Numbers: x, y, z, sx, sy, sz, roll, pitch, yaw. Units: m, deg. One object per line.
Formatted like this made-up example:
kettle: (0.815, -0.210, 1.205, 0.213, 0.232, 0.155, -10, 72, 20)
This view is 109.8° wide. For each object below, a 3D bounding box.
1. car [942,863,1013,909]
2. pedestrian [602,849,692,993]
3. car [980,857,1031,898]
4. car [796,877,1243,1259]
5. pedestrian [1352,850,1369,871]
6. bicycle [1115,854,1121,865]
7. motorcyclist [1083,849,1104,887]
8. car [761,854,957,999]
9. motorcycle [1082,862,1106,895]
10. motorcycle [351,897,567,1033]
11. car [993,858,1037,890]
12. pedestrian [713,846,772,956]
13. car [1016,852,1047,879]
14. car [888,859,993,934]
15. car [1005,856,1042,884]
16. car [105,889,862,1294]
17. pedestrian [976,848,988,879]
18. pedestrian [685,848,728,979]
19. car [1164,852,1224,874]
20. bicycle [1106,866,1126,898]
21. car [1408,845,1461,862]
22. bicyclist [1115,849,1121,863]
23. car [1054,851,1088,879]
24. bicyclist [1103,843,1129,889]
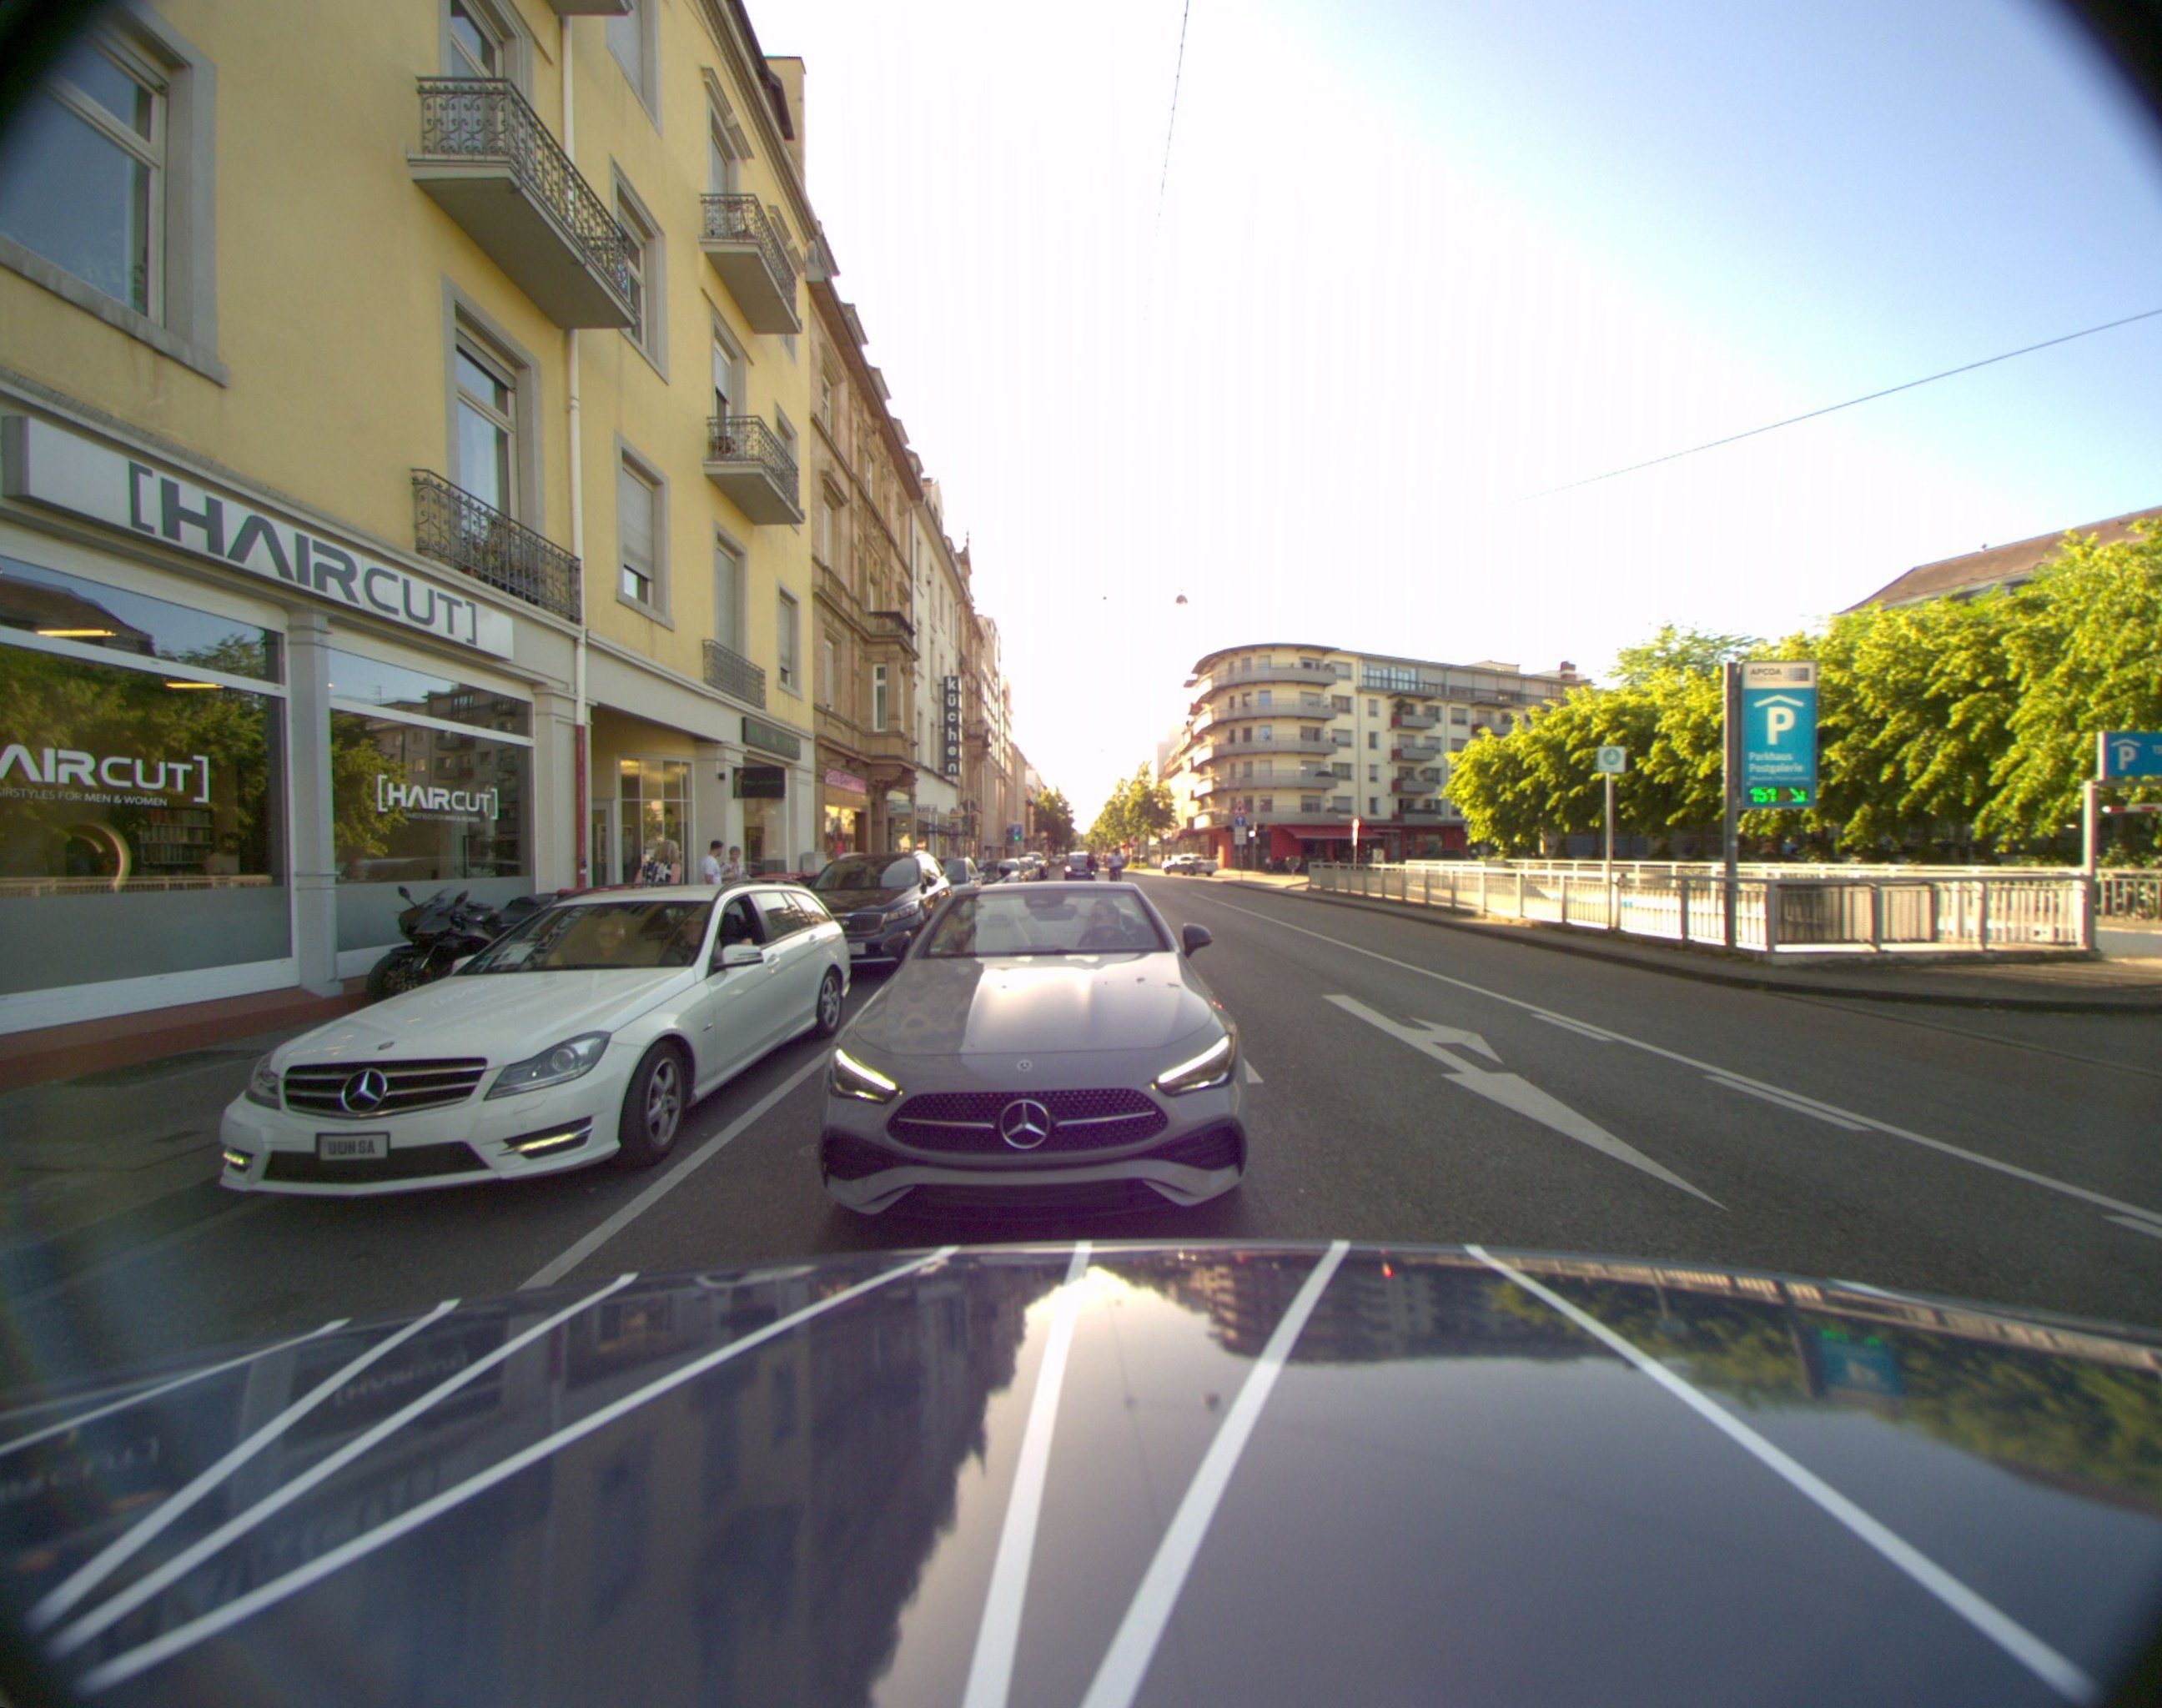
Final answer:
car: (-3.365, 1.014, 25.422, 1.802, 1.259, 4.085, -2, 1, -1)
pedestrian: (-5.140, 0.766, 9.031, 0.719, 1.644, 0.606, 1, 1, 1)
car: (-2.988, 0.897, 30.665, 1.660, 1.423, 4.085, -2, 1, -1)
car: (-0.272, 0.951, 5.156, 1.802, 1.351, 3.999, -2, 1, -1)
pedestrian: (21.827, 0.498, 59.240, 0.863, 1.586, 0.887, -3, 1, -38)
bicycle: (4.072, 0.561, 83.350, 0.527, 1.163, 1.593, -2, 1, 1)
motorcyclist: (0.498, 0.545, 30.205, 0.723, 1.438, 0.705, -2, 1, -5)
car: (-3.014, 0.875, 11.301, 1.803, 1.629, 4.243, -2, 1, -3)
motorcycle: (0.517, 0.952, 30.171, 0.721, 1.177, 1.905, -2, 1, -5)
motorcycle: (-6.214, 1.046, 7.758, 0.567, 1.072, 1.954, 2, 1, 1)
car: (-3.129, 0.924, 36.898, 1.802, 1.332, 3.838, -2, 1, -1)
pedestrian: (-5.834, 0.794, 13.126, 0.664, 1.840, 0.575, -2, 1, 2)
car: (-3.055, 0.691, 47.541, 1.725, 1.506, 4.004, -2, 1, -1)
car: (-3.298, 0.939, 18.598, 1.802, 1.518, 4.085, -2, 1, -1)
car: (-3.067, 0.836, 41.366, 1.725, 1.332, 3.668, -2, 1, -1)
car: (-3.061, 1.073, 5.285, 1.704, 1.351, 4.378, -2, 1, 1)
pedestrian: (-5.893, 0.554, 45.255, 0.574, 1.840, 0.665, -2, 1, 1)
pedestrian: (-5.829, 0.903, 11.858, 0.374, 1.971, 0.693, -1, 1, -9)
car: (7.713, 0.607, 52.268, 1.828, 1.346, 4.253, 0, 1, -31)
bicycle: (1.298, 0.993, 27.939, 0.640, 1.078, 2.062, -1, 0, 4)
car: (29.044, -0.065, 62.416, 4.004, 1.294, 1.753, -2, 1, -23)
bicyclist: (4.059, 0.195, 83.296, 0.525, 1.539, 0.798, -2, 1, 0)
car: (-0.550, 0.624, 45.720, 1.856, 1.543, 3.999, -2, 1, 1)
bicyclist: (1.313, 0.437, 28.152, 0.885, 1.625, 0.769, -2, 1, 4)
